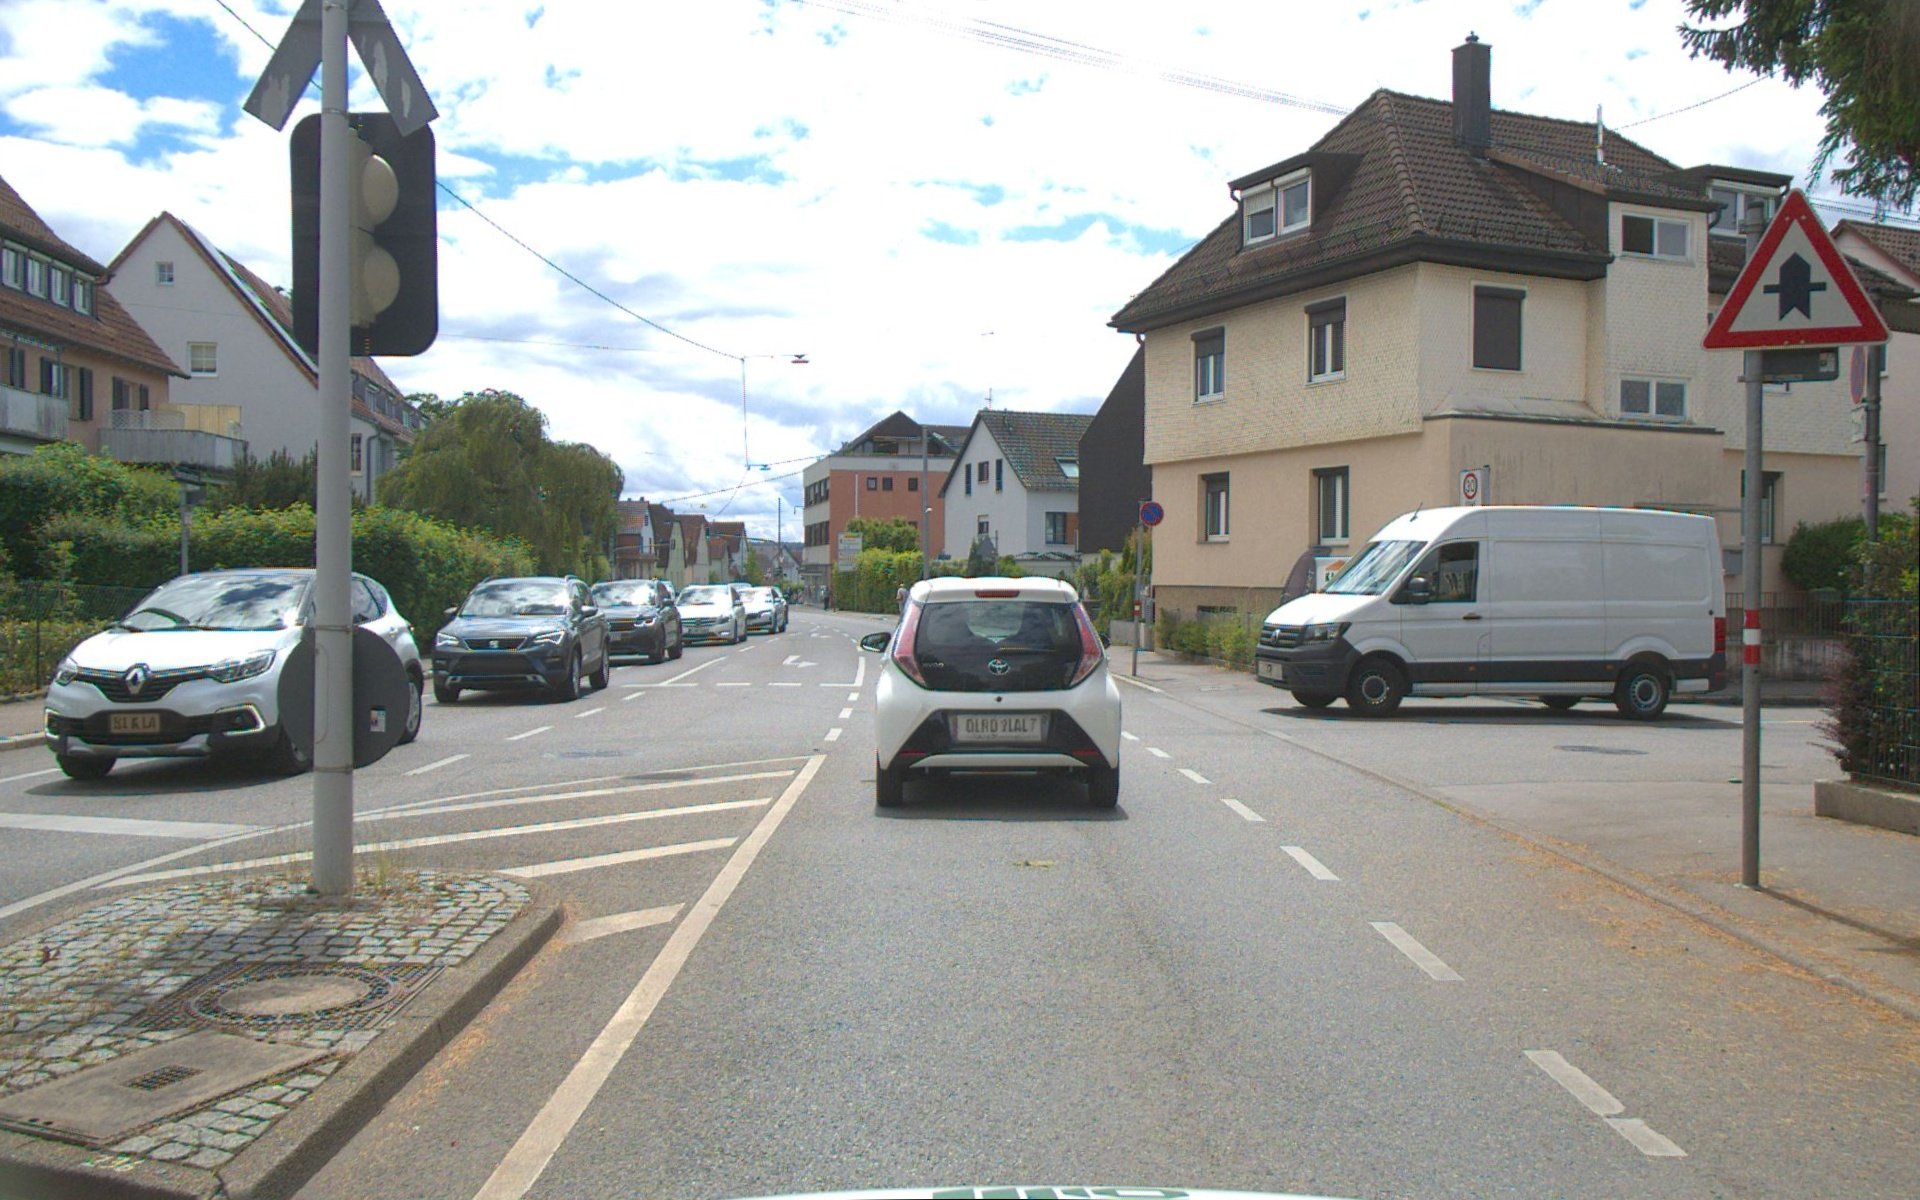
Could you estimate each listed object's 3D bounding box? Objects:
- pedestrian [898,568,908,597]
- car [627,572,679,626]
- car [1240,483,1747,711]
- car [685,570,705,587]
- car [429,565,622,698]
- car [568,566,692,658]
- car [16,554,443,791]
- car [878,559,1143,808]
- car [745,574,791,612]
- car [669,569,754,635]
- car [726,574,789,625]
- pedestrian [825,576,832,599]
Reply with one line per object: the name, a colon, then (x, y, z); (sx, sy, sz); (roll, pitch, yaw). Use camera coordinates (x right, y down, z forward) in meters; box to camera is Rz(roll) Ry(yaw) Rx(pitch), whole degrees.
pedestrian: (-2.853, -0.876, 82.865); (0.407, 1.463, 0.435); (0, 1, -18)
car: (-11.587, -0.050, 62.603); (1.742, 1.878, 4.001); (-3, 1, -9)
car: (6.645, -0.077, 20.755); (5.892, 2.626, 1.994); (0, 1, -13)
car: (-27.505, -2.198, 171.823); (1.957, 1.713, 3.992); (1, 1, -9)
car: (-5.813, 0.343, 22.590); (1.739, 1.631, 4.037); (-1, 1, -3)
car: (-6.498, 0.184, 32.980); (1.739, 1.631, 4.167); (-3, 1, -3)
car: (-5.717, 0.464, 13.537); (1.739, 1.631, 4.038); (-1, 1, -1)
car: (0.212, 0.500, 12.115); (1.589, 1.512, 3.997); (1, 0, -3)
car: (-8.065, -0.318, 69.651); (1.740, 1.455, 4.005); (-2, 1, -5)
car: (-6.572, 0.015, 44.115); (1.739, 1.588, 4.167); (-3, 1, -3)
car: (-6.449, -0.043, 53.084); (1.740, 1.454, 4.518); (-3, 1, -5)
pedestrian: (-8.459, -0.811, 106.376); (0.405, 1.463, 0.437); (0, 1, -10)
